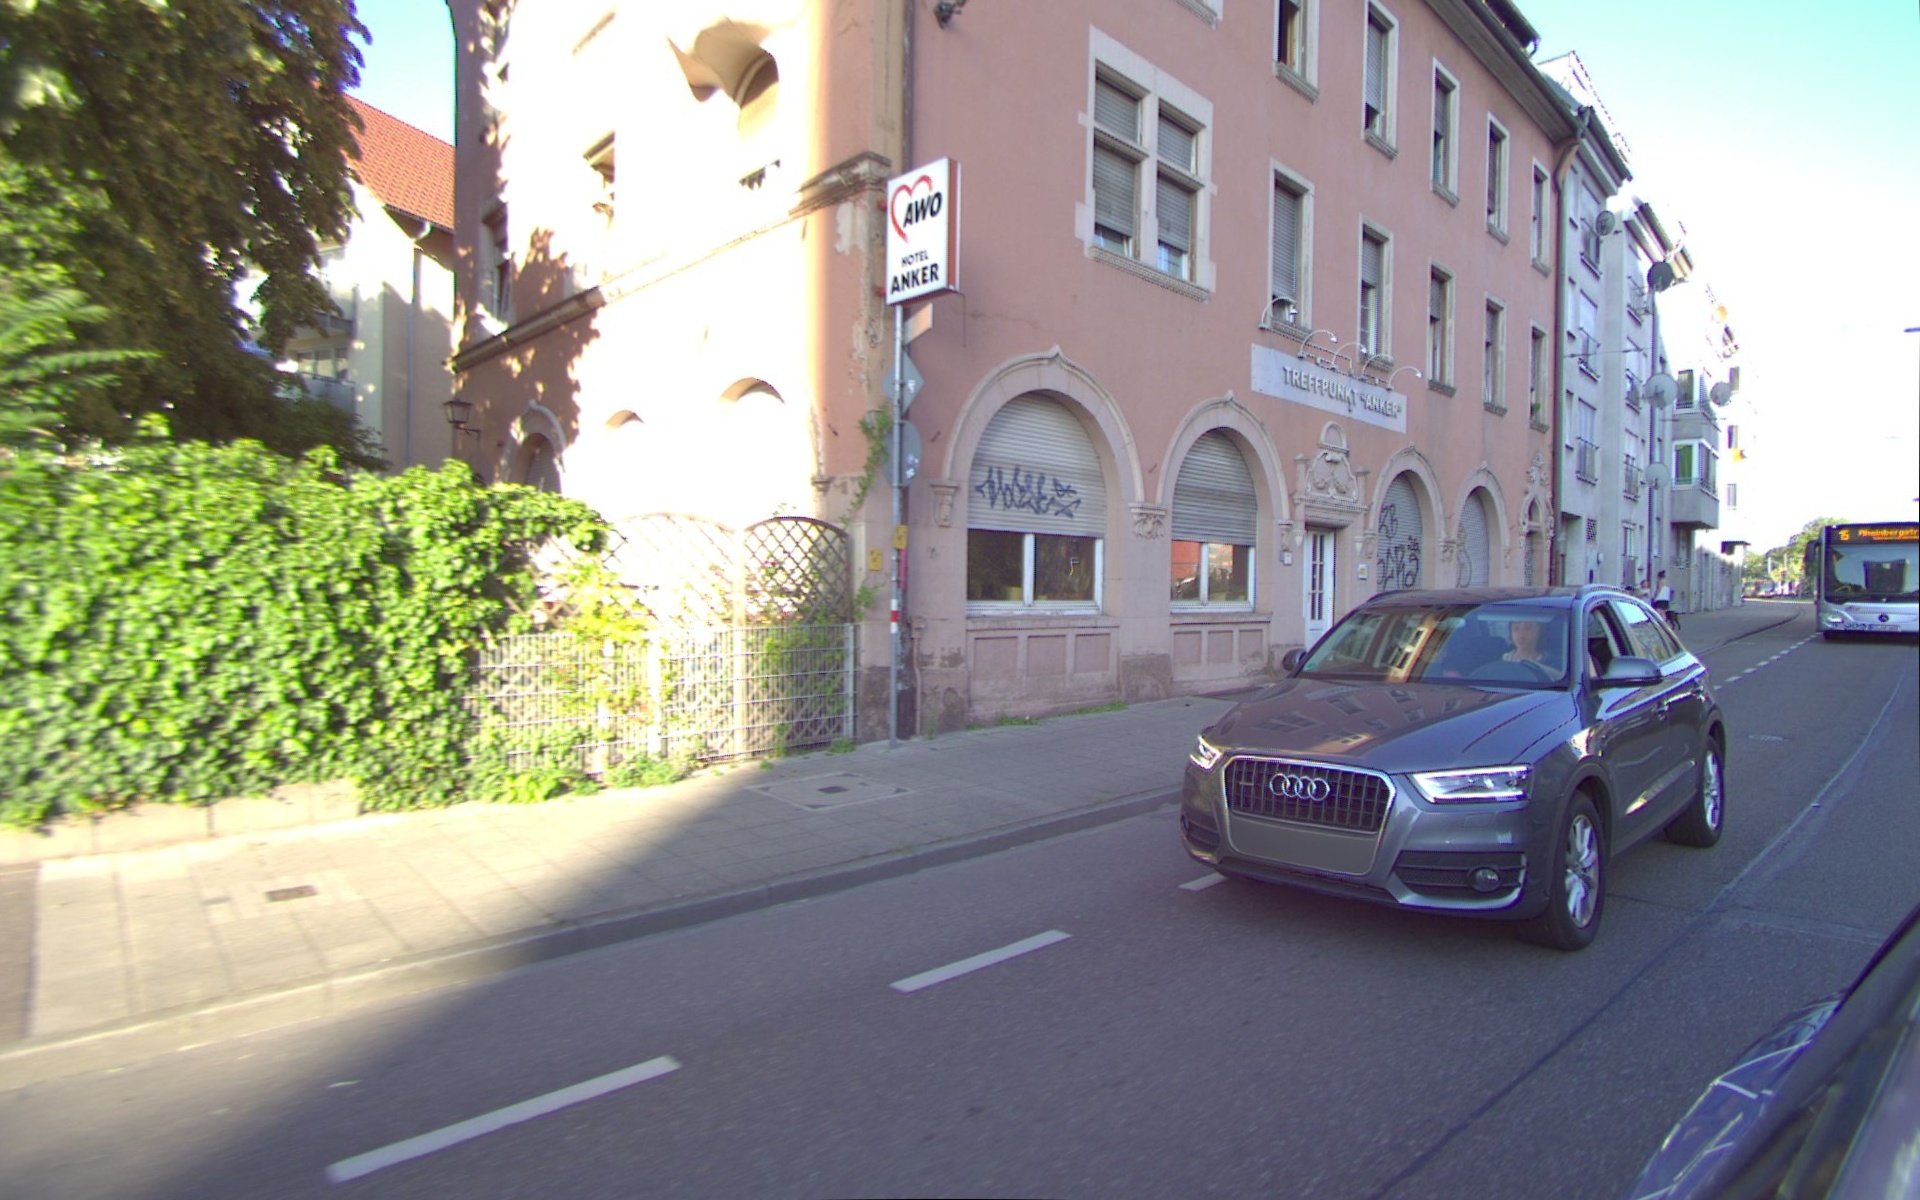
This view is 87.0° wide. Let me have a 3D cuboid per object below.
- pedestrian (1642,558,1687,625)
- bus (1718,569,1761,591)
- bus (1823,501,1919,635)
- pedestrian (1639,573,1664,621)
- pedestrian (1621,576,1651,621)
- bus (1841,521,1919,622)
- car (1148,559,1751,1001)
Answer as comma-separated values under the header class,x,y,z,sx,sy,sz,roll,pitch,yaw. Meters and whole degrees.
class,x,y,z,sx,sy,sz,roll,pitch,yaw
pedestrian,19.500,-0.249,28.006,0.830,1.794,0.980,2,2,45
bus,107.523,-2.712,139.802,3.851,2.888,13.658,-1,0,34
bus,25.647,-0.826,27.635,2.724,3.115,10.436,1,1,43
pedestrian,20.232,-0.090,29.621,0.514,1.361,0.600,2,3,41
pedestrian,19.307,-0.044,28.896,0.575,1.267,0.587,0,2,-45
bus,32.761,-0.956,35.302,2.705,3.115,10.436,1,1,43
car,2.975,0.645,5.714,4.000,1.607,1.768,0,0,-43
